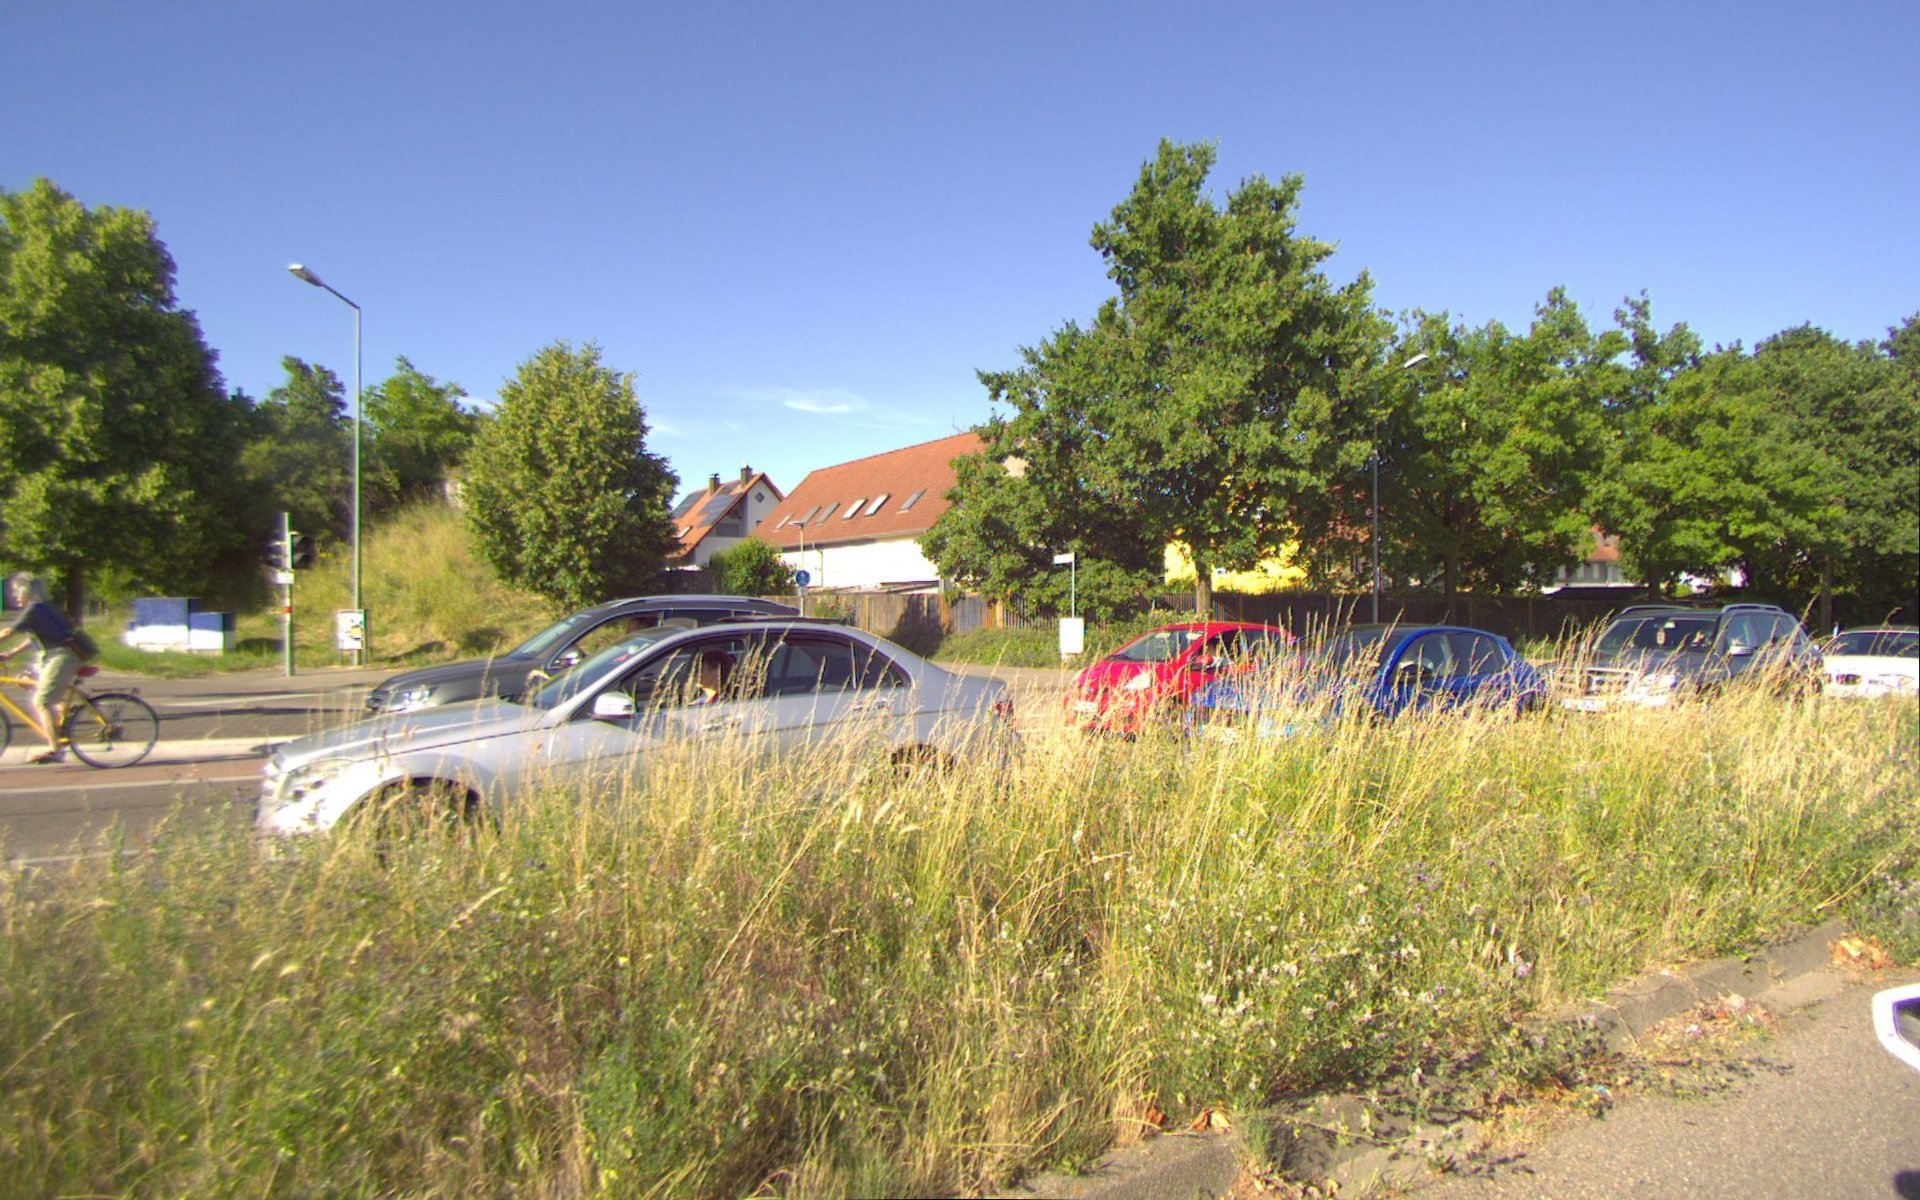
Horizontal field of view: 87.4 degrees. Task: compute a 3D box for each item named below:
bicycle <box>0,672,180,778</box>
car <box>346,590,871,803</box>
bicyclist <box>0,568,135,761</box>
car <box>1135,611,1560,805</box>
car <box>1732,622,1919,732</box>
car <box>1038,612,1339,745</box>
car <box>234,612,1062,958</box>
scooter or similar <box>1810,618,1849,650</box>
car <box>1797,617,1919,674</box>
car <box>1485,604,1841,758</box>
[{"bbox_3d":[-8.591,1.162,9.385,1.966,0.859,0.745,0,0,-30],"label":"bicycle"},{"bbox_3d":[-3.310,0.775,9.813,4.475,1.666,1.985,0,-1,-29],"label":"car"},{"bbox_3d":[-8.591,0.580,9.396,1.227,1.725,0.741,0,0,-30],"label":"bicyclist"},{"bbox_3d":[3.711,0.864,9.526,3.840,1.503,1.739,0,-1,-29],"label":"car"},{"bbox_3d":[14.414,1.112,15.900,4.347,1.470,1.984,0,-1,-30],"label":"car"},{"bbox_3d":[2.979,0.908,12.972,3.668,1.503,1.638,0,-1,-29],"label":"car"},{"bbox_3d":[-1.699,0.845,6.347,4.475,1.526,1.785,0,-1,-29],"label":"car"},{"bbox_3d":[35.346,1.381,40.828,1.390,1.235,0.539,-1,2,-17],"label":"scooter or similar"},{"bbox_3d":[24.755,1.197,27.052,3.940,1.449,1.707,0,-2,-21],"label":"car"},{"bbox_3d":[8.899,0.879,12.651,4.476,1.637,1.984,0,-1,-30],"label":"car"}]
